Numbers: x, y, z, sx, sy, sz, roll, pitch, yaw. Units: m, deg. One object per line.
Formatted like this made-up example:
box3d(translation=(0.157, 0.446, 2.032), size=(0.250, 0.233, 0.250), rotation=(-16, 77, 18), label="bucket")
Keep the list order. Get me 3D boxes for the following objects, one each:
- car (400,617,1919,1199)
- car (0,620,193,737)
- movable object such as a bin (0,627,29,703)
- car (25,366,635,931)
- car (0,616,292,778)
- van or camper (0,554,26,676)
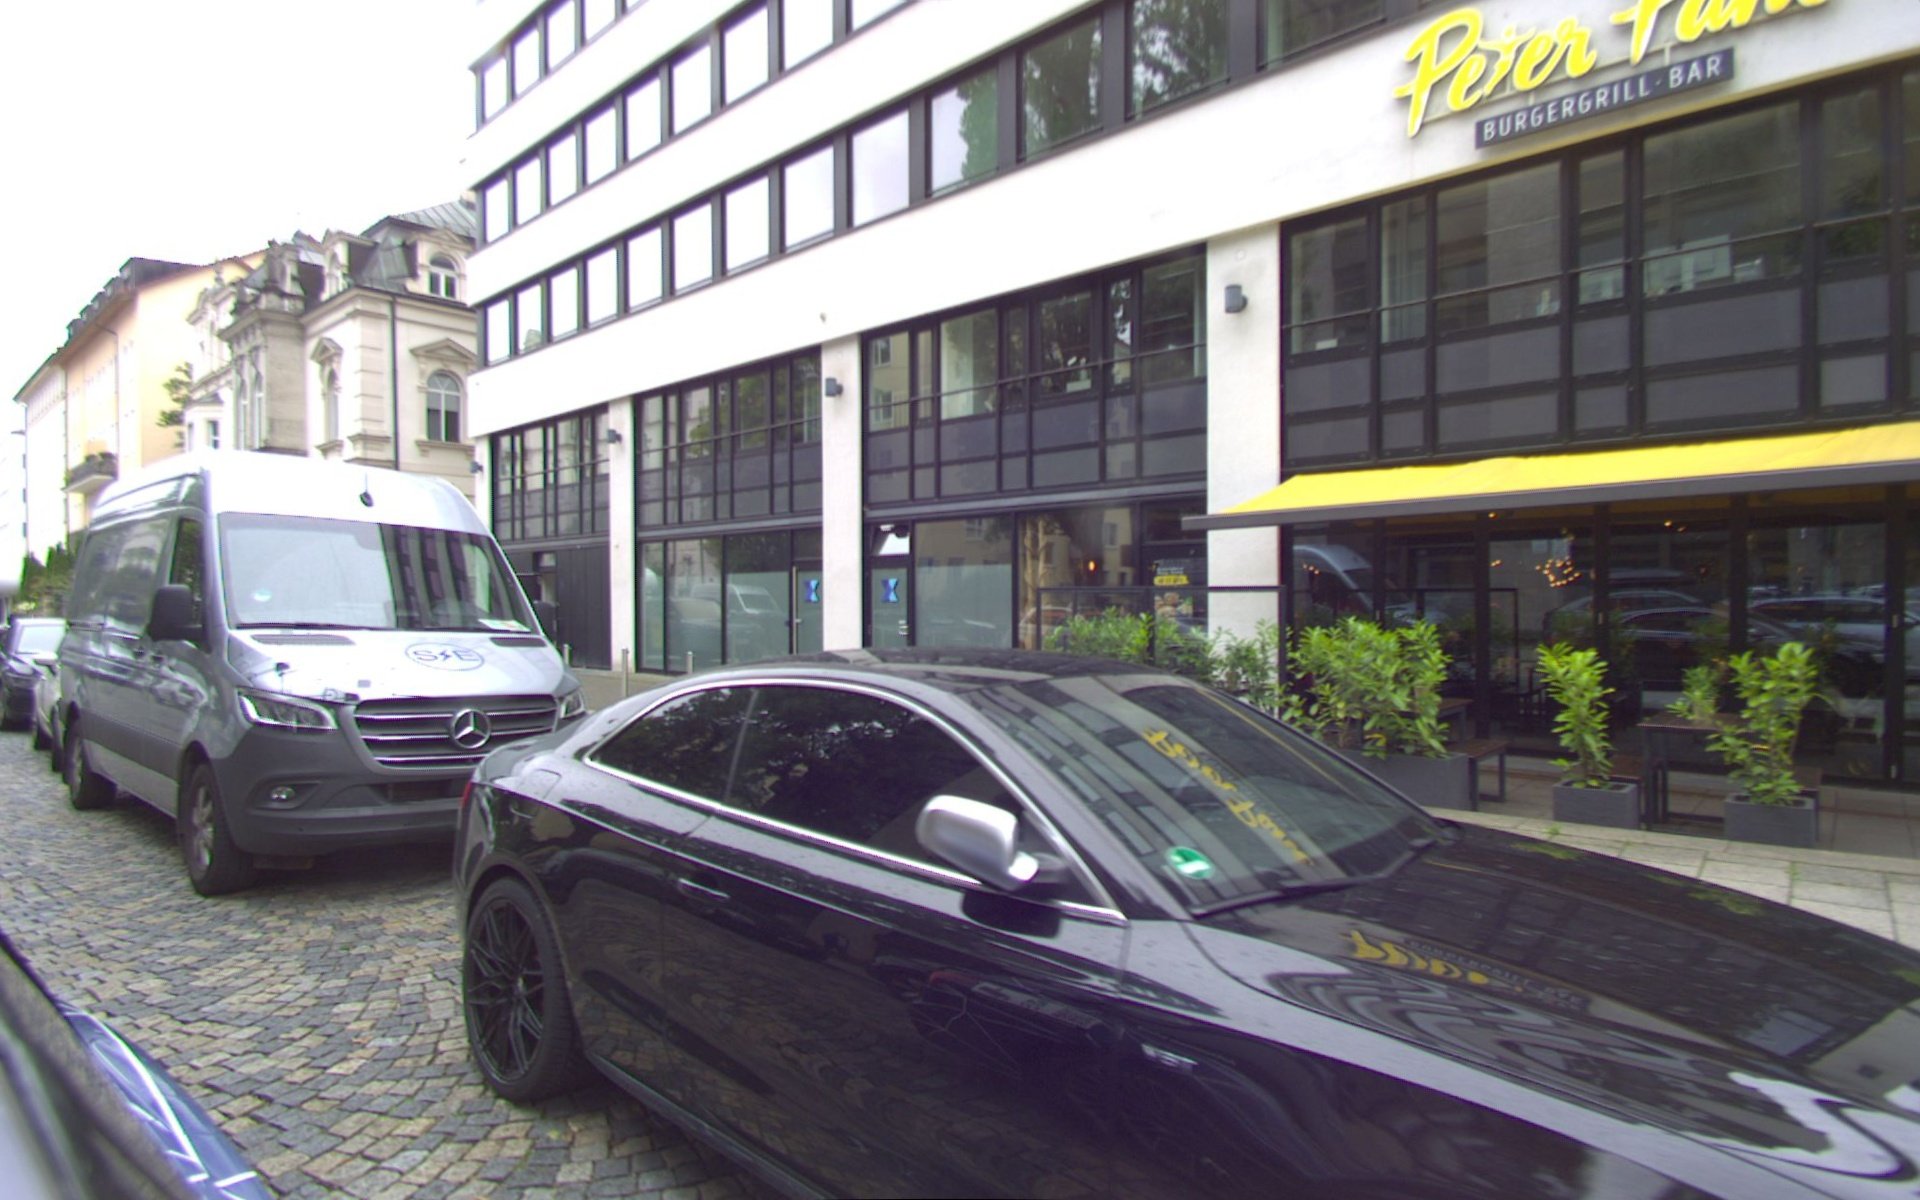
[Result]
box3d(translation=(0.395, 0.736, 2.730), size=(4.112, 1.340, 1.974), rotation=(-1, 0, 39), label="car")
box3d(translation=(-12.710, 1.005, 14.506), size=(3.998, 1.399, 1.973), rotation=(-1, 0, 41), label="car")
box3d(translation=(-17.256, 1.146, 17.707), size=(1.172, 1.308, 1.239), rotation=(-1, -1, 38), label="movable object such as a bin")
box3d(translation=(-4.820, 0.238, 7.189), size=(5.845, 2.509, 2.038), rotation=(-1, 0, 41), label="car")
box3d(translation=(-9.226, 0.921, 11.297), size=(3.998, 1.441, 1.973), rotation=(-1, 0, 41), label="car")
box3d(translation=(-27.396, 0.417, 27.267), size=(7.313, 3.070, 2.432), rotation=(-1, 0, 41), label="van or camper")
